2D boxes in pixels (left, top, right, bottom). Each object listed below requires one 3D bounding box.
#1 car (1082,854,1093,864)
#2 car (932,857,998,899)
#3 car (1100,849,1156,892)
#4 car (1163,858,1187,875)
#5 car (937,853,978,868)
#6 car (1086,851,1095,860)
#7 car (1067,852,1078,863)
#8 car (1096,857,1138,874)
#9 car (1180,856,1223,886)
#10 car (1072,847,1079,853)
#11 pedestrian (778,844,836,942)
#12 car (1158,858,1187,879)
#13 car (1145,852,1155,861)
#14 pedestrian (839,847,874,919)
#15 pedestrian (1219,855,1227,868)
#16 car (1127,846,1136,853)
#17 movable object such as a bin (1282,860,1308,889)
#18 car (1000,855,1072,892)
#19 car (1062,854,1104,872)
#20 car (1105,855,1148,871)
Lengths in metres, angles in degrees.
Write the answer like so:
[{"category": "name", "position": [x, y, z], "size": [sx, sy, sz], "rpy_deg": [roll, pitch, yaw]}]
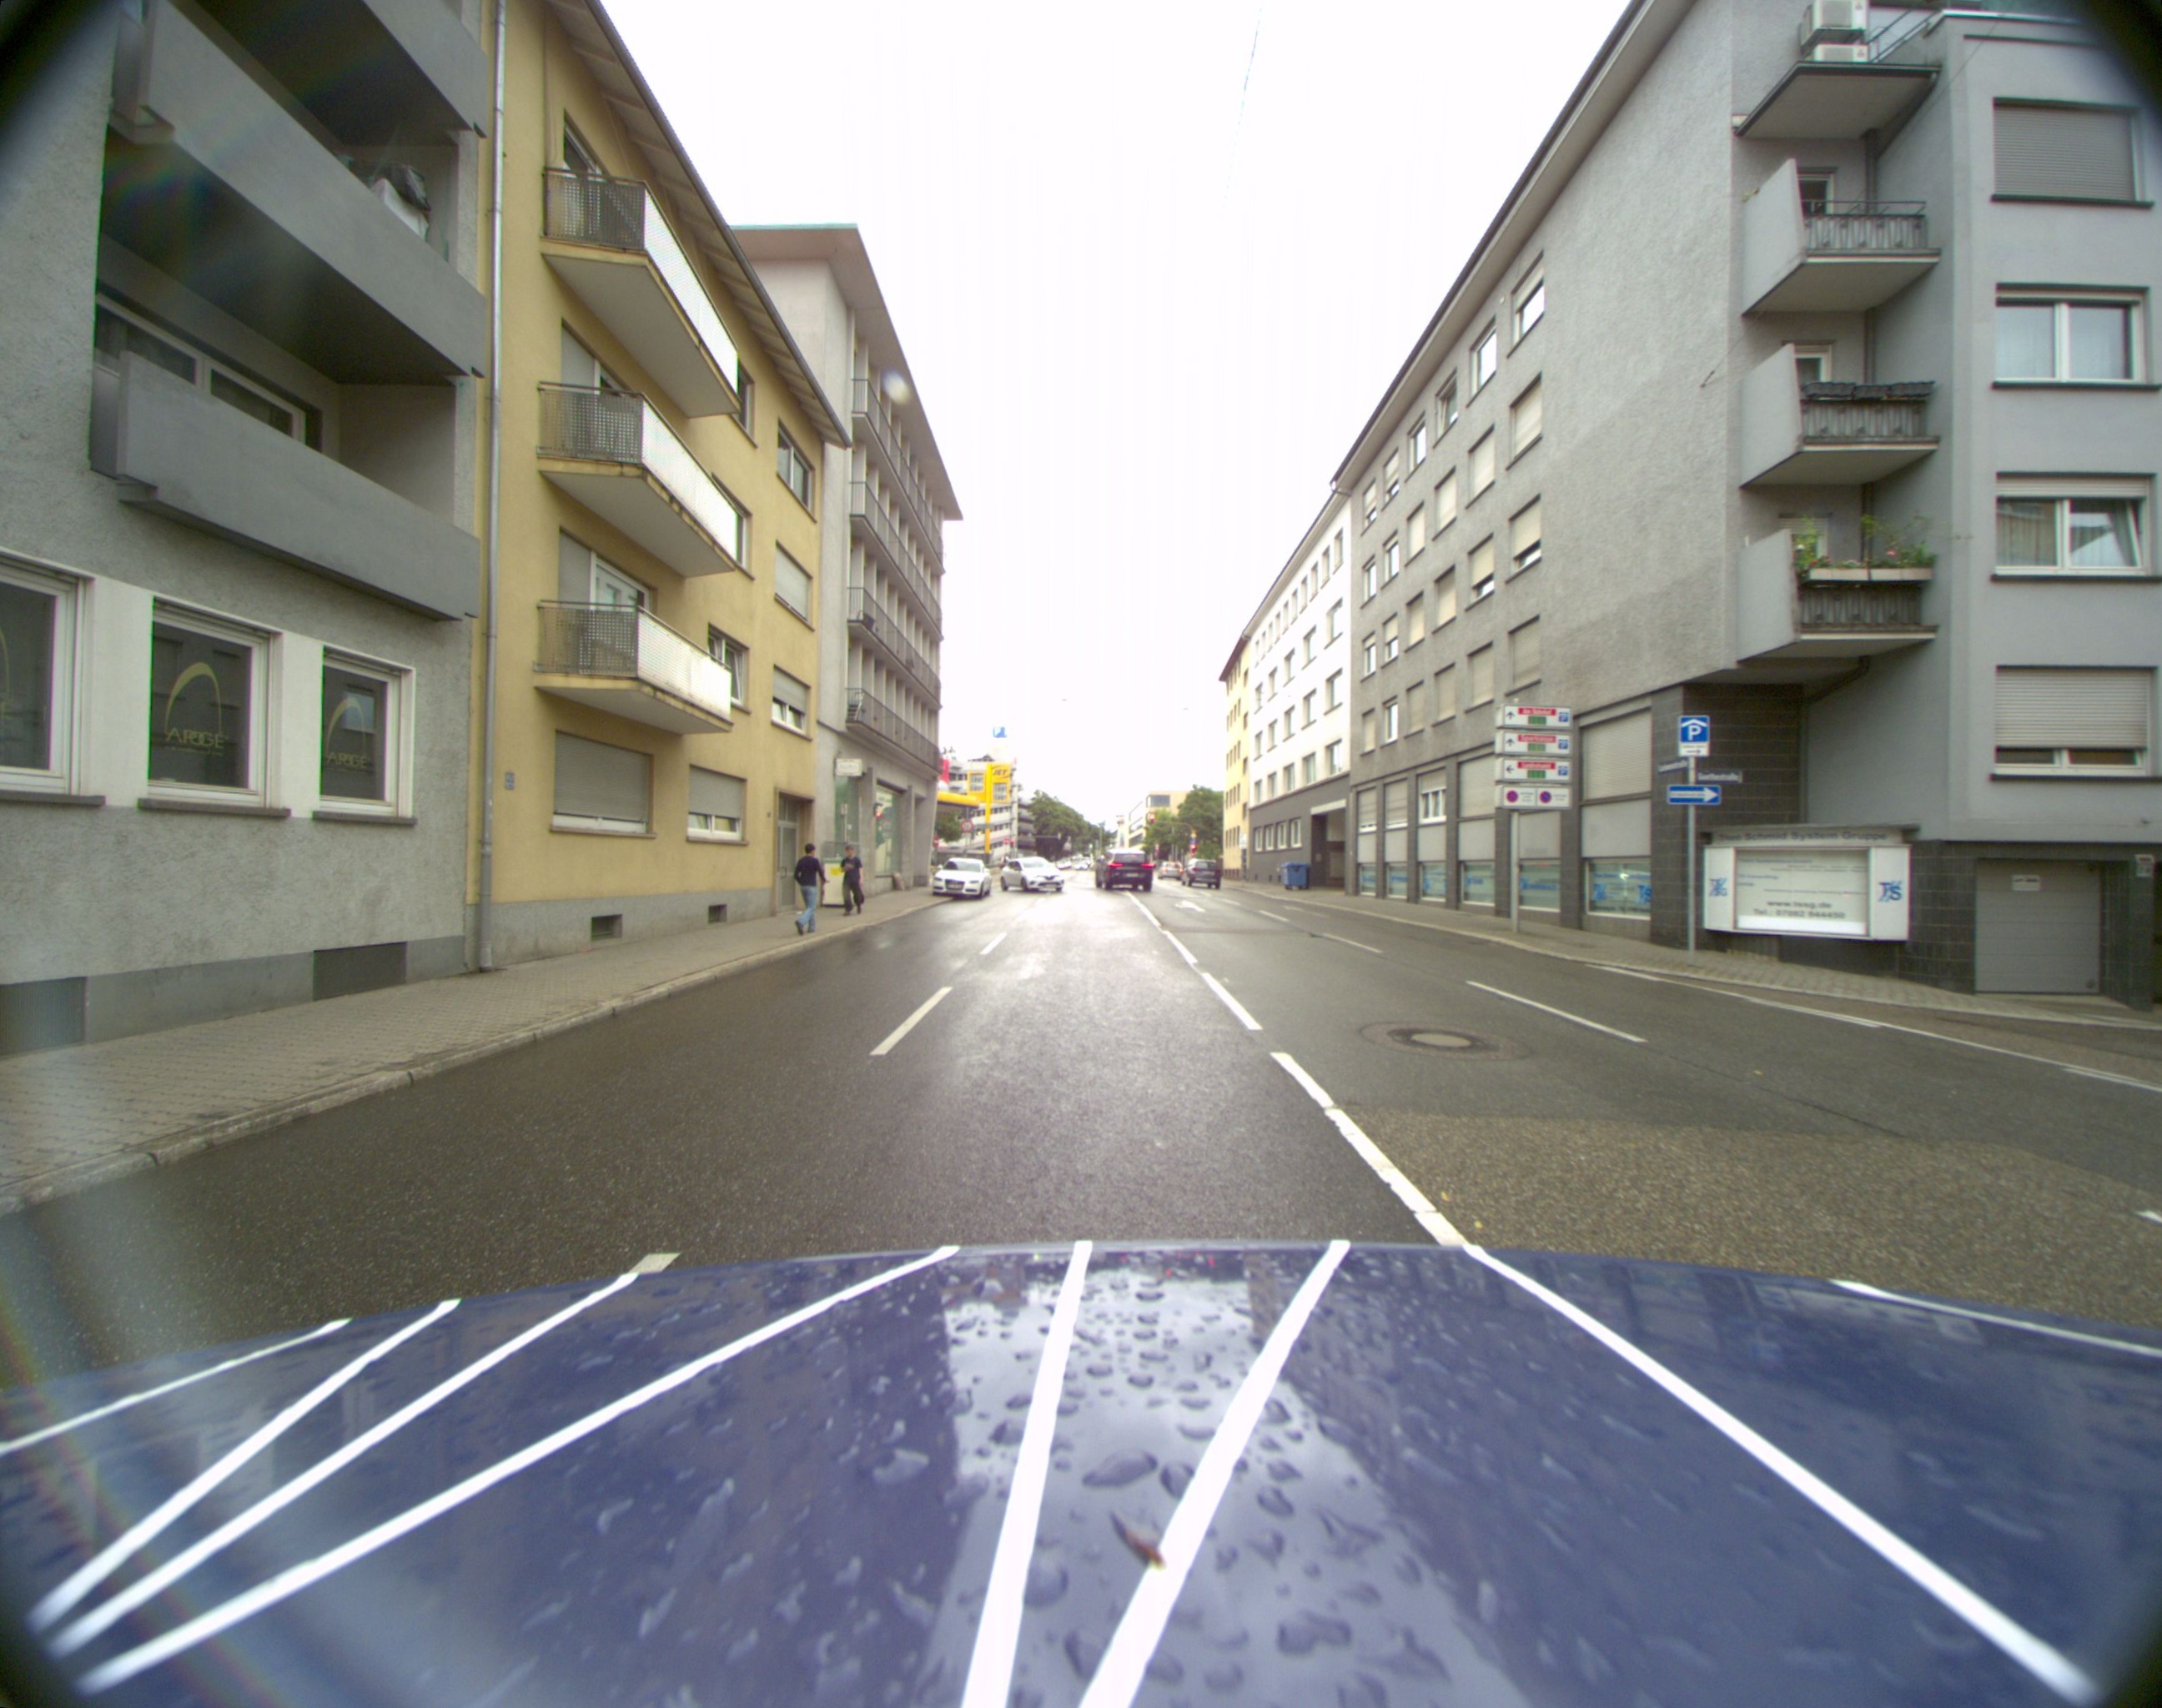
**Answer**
[{"category": "car", "position": [1.334, 0.968, 153.242], "size": [1.999, 1.736, 3.998], "rpy_deg": [-2, 1, -2]}, {"category": "car", "position": [-4.364, 0.861, 29.070], "size": [1.803, 1.427, 4.166], "rpy_deg": [1, 0, 1]}, {"category": "car", "position": [1.999, 0.654, 33.850], "size": [2.132, 1.711, 4.817], "rpy_deg": [2, 0, 0]}, {"category": "car", "position": [9.868, 1.311, 79.859], "size": [1.998, 1.672, 4.000], "rpy_deg": [1, 0, 1]}, {"category": "car", "position": [-13.348, 0.684, 82.446], "size": [3.994, 1.436, 1.773], "rpy_deg": [-2, 1, 10]}, {"category": "car", "position": [2.275, 0.261, 178.798], "size": [1.998, 2.002, 3.999], "rpy_deg": [-2, 1, 1]}, {"category": "car", "position": [-1.628, 0.744, 148.463], "size": [1.998, 2.002, 3.999], "rpy_deg": [-2, 1, 0]}, {"category": "car", "position": [3.464, 1.106, 72.863], "size": [3.996, 1.499, 1.738], "rpy_deg": [1, 1, 2]}, {"category": "car", "position": [6.702, 0.932, 42.513], "size": [1.707, 1.498, 4.159], "rpy_deg": [3, 0, 0]}, {"category": "car", "position": [-1.882, -1.322, 257.731], "size": [1.998, 1.827, 3.999], "rpy_deg": [-2, 1, 1]}, {"category": "pedestrian", "position": [-5.187, 0.722, 14.455], "size": [0.644, 1.768, 1.056], "rpy_deg": [3, 1, 0]}, {"category": "car", "position": [7.419, 1.166, 62.047], "size": [1.883, 1.580, 4.373], "rpy_deg": [0, 0, 1]}, {"category": "car", "position": [15.454, 0.605, 170.058], "size": [1.998, 1.863, 3.999], "rpy_deg": [-2, 1, 0]}, {"category": "pedestrian", "position": [-5.619, 0.711, 19.073], "size": [0.679, 1.745, 0.888], "rpy_deg": [1, 1, -5]}, {"category": "pedestrian", "position": [13.059, 0.685, 69.860], "size": [0.582, 1.143, 0.407], "rpy_deg": [3, 1, 2]}, {"category": "car", "position": [12.857, -1.090, 192.896], "size": [1.998, 1.683, 4.000], "rpy_deg": [-2, 1, 2]}, {"category": "movable object such as a bin", "position": [10.363, 1.000, 36.797], "size": [0.946, 1.325, 1.096], "rpy_deg": [-3, 1, 1]}, {"category": "car", "position": [-2.041, 0.832, 33.321], "size": [1.774, 1.465, 3.992], "rpy_deg": [-3, 0, -24]}, {"category": "car", "position": [0.209, 0.927, 77.130], "size": [3.994, 1.751, 2.001], "rpy_deg": [1, 1, 9]}, {"category": "car", "position": [4.644, 0.911, 77.245], "size": [4.004, 1.485, 1.769], "rpy_deg": [-2, 1, -23]}]
